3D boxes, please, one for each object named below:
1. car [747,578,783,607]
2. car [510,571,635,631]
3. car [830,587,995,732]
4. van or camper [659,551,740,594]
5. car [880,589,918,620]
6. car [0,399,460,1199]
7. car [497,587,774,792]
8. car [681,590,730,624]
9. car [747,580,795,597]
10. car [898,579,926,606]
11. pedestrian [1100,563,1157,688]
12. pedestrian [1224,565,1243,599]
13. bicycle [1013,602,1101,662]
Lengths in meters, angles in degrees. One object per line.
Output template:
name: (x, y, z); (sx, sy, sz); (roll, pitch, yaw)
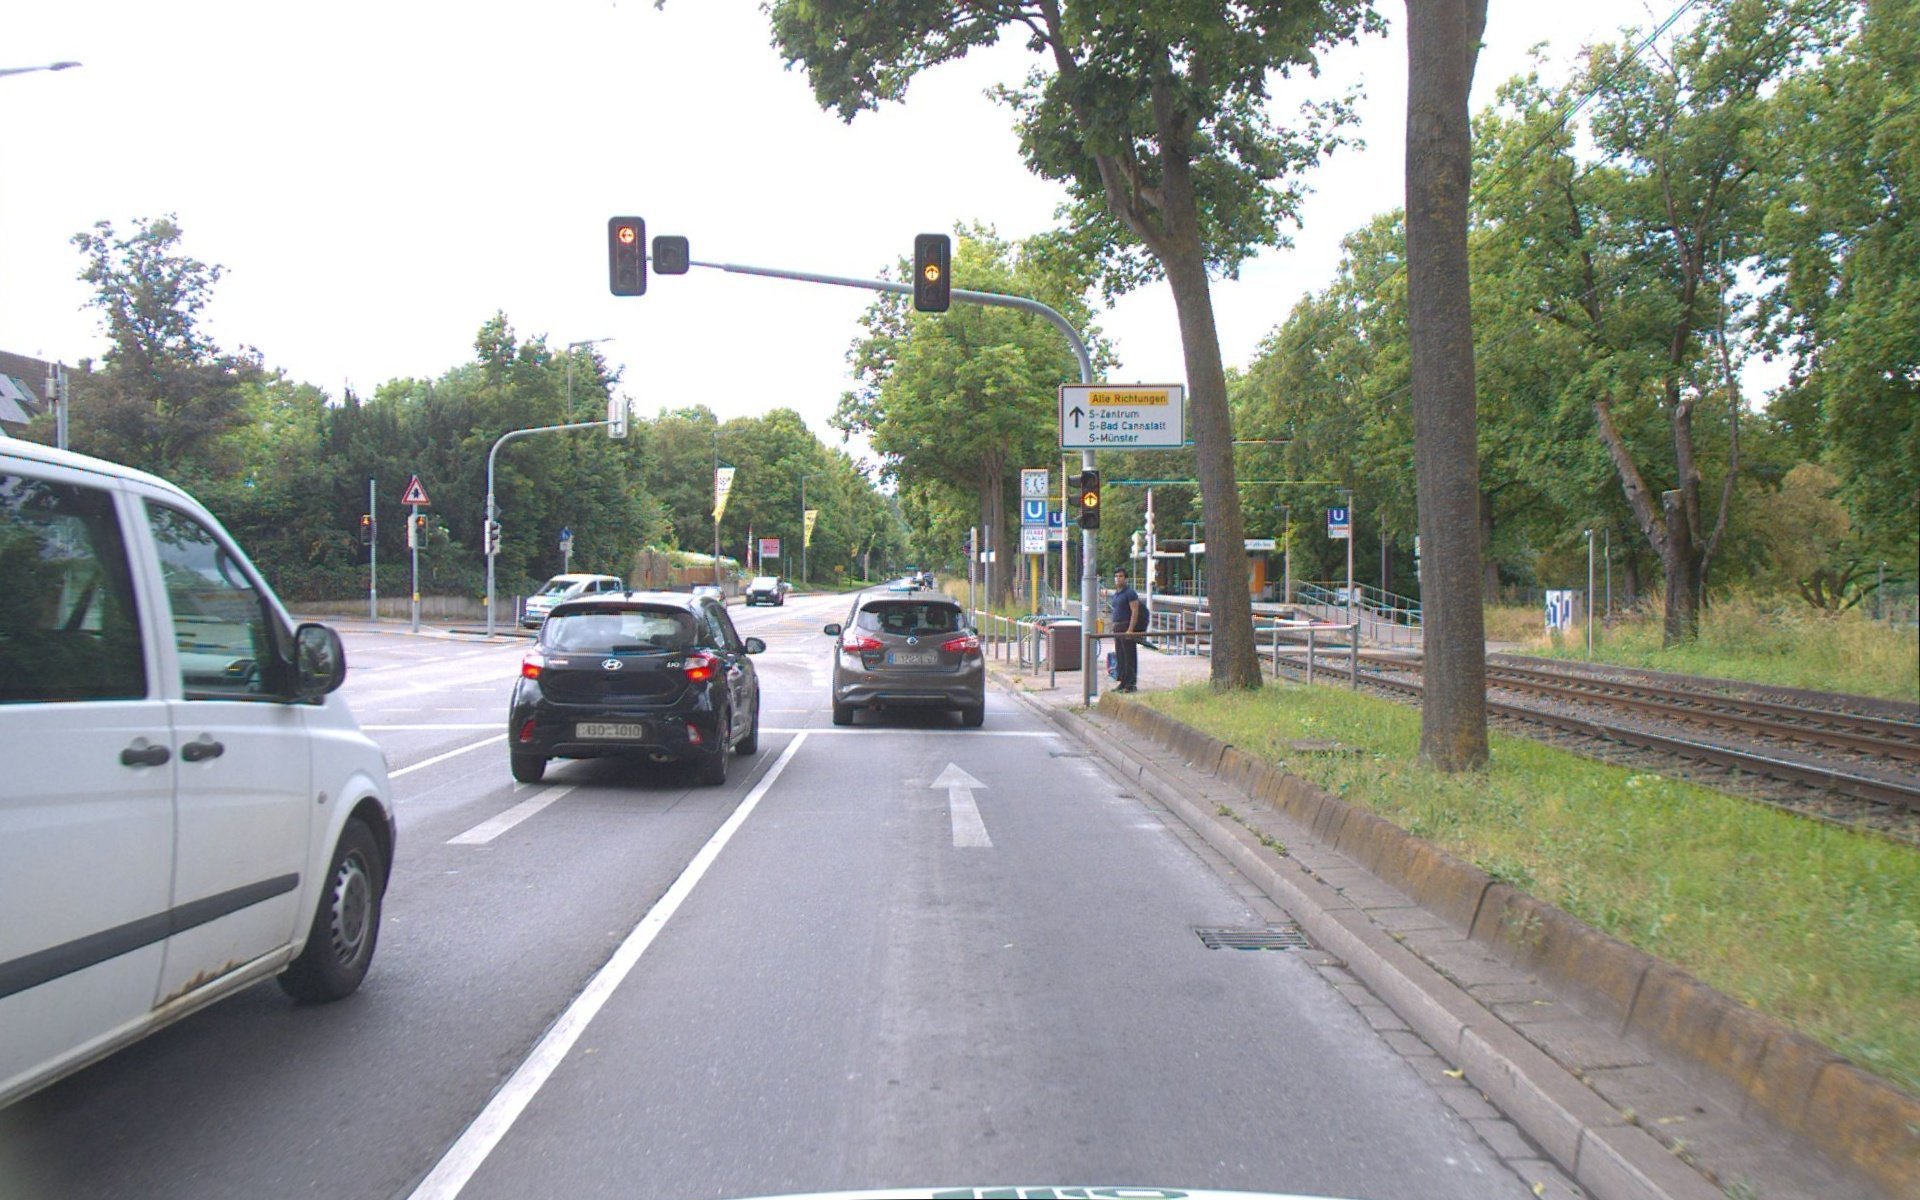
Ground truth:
car: (-11.859, -0.442, 100.862); (1.864, 1.708, 5.078); (0, 0, -3)
car: (-12.877, 0.035, 55.283); (1.902, 1.906, 4.543); (1, 0, 20)
car: (-0.488, 0.642, 20.206); (1.799, 1.555, 3.929); (1, 0, 1)
van or camper: (-24.718, -2.613, 157.191); (6.999, 3.428, 2.796); (6, 0, -1)
car: (-3.024, 0.217, 82.810); (1.675, 1.501, 3.672); (1, 0, 1)
car: (-2.976, 0.502, 4.167); (1.868, 1.875, 5.281); (0, 0, -1)
car: (-2.616, 0.656, 14.130); (1.669, 1.506, 3.667); (0, 0, -1)
car: (-11.714, 0.309, 76.285); (1.707, 1.490, 4.340); (2, 0, -3)
car: (-17.985, -1.127, 157.510); (4.288, 1.466, 1.960); (2, 0, -3)
car: (-2.909, -0.460, 101.001); (1.472, 1.555, 3.672); (1, 0, 1)
pedestrian: (2.463, 0.370, 24.202); (0.736, 1.767, 0.840); (-2, 0, 4)
pedestrian: (12.480, -0.813, 75.465); (0.703, 1.537, 0.724); (2, 0, 2)
bicycle: (1.916, 0.638, 32.908); (1.641, 1.109, 0.601); (-3, 0, -5)
